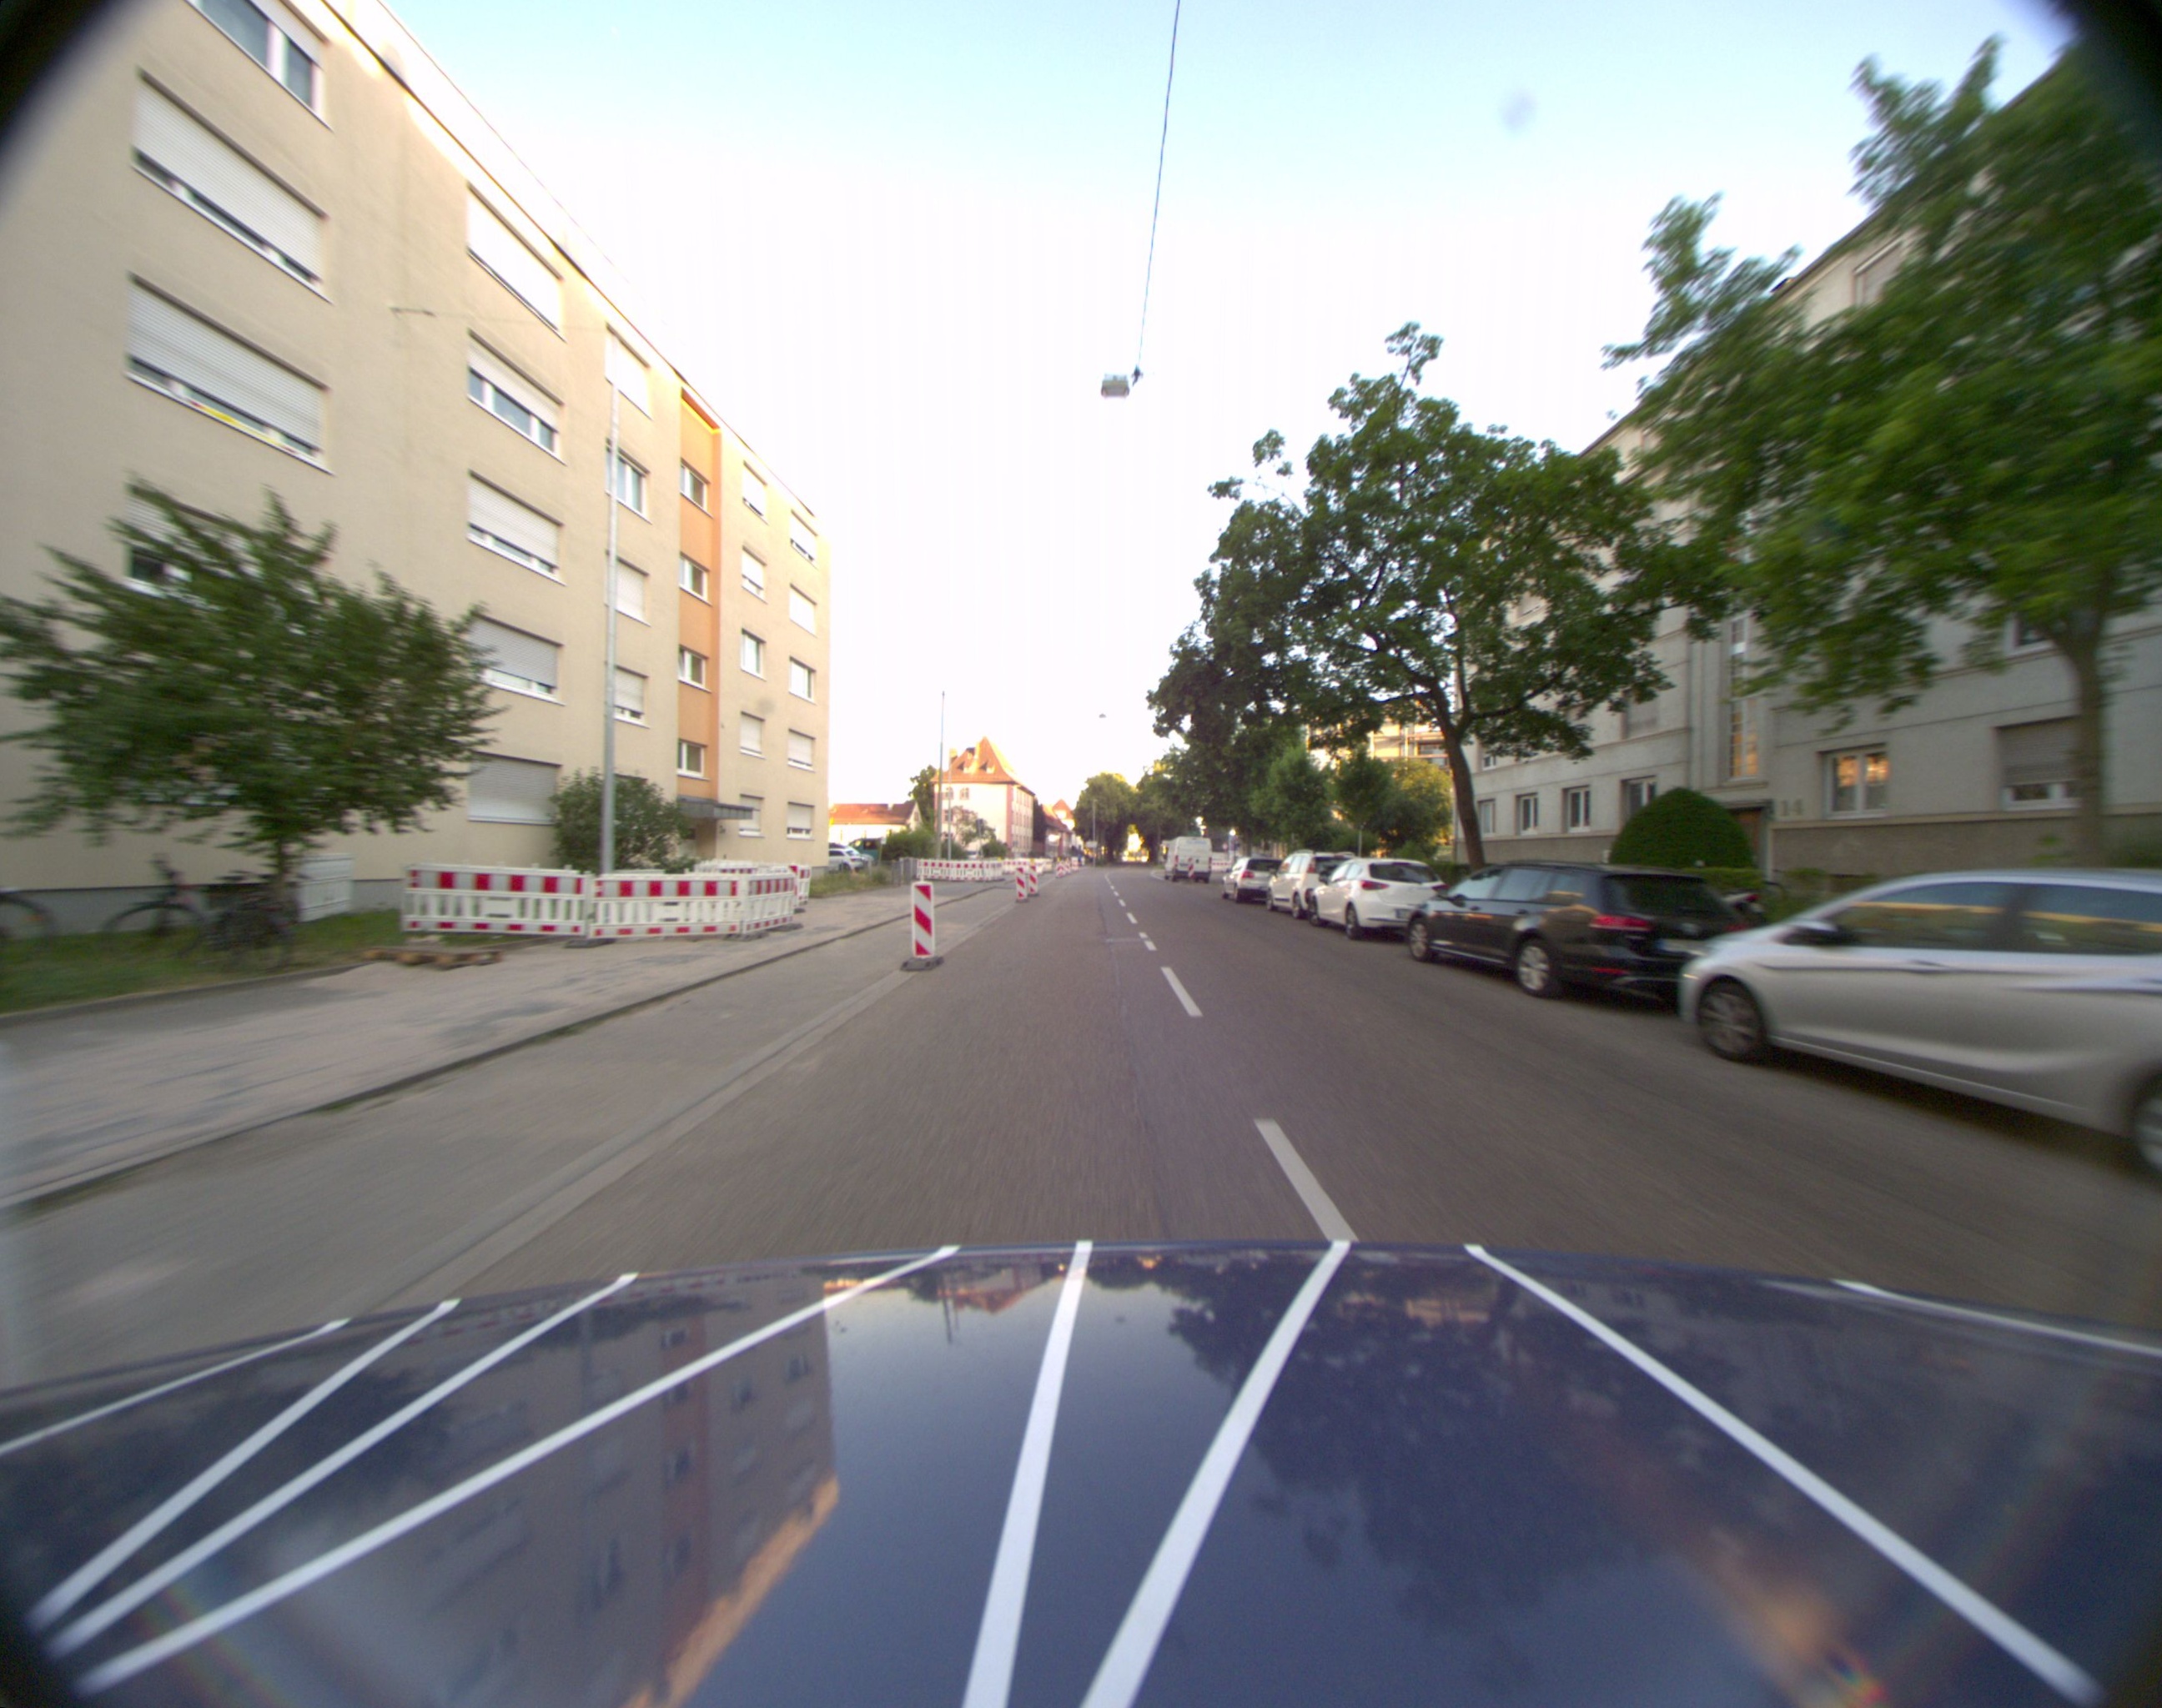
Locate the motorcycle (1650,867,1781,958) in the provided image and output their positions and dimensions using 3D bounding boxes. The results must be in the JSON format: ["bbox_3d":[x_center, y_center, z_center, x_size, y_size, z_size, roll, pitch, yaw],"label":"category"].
[{"bbox_3d":[10.142,0.890,12.233,0.588,1.317,1.828,0,0,1],"label":"motorcycle"}]

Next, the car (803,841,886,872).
[{"bbox_3d":[-14.585,0.131,47.021,4.489,1.800,2.005,1,1,3],"label":"car"}]

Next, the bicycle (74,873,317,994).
[{"bbox_3d":[-8.988,0.787,7.746,1.815,1.017,0.558,5,1,2],"label":"bicycle"}]

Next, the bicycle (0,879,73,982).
[{"bbox_3d":[-10.863,0.699,6.983,1.821,0.916,0.556,4,2,-40],"label":"bicycle"}]

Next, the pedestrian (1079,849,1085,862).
[{"bbox_3d":[0.131,0.202,99.496,0.716,1.600,0.518,0,1,-4],"label":"pedestrian"}]

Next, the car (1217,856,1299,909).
[{"bbox_3d":[5.660,0.852,24.817,1.756,1.463,4.224,3,0,2],"label":"car"}]

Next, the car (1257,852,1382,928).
[{"bbox_3d":[5.878,0.813,19.258,1.757,1.622,4.107,3,0,-1],"label":"car"}]

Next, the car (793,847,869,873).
[{"bbox_3d":[-14.558,0.316,44.364,3.839,1.444,1.695,1,1,3],"label":"car"}]

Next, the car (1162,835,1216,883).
[{"bbox_3d":[6.174,0.257,44.097,2.184,2.447,6.103,3,0,1],"label":"car"}]

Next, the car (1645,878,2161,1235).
[{"bbox_3d":[5.542,0.970,4.379,1.679,1.451,3.704,3,0,-2],"label":"car"}]

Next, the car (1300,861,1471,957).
[{"bbox_3d":[5.635,0.928,14.626,1.756,1.471,3.945,3,0,2],"label":"car"}]

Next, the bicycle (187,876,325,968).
[{"bbox_3d":[-9.742,0.776,9.042,0.559,0.860,1.610,4,1,-27],"label":"bicycle"}]

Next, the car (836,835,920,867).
[{"bbox_3d":[-13.844,-0.222,51.980,5.030,2.117,2.291,0,0,8],"label":"car"}]

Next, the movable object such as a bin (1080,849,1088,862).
[{"bbox_3d":[0.381,0.192,100.164,0.977,1.600,0.634,0,1,-4],"label":"movable object such as a bin"}]

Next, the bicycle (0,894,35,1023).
[{"bbox_3d":[-9.383,0.768,6.015,1.755,0.981,0.558,5,1,10],"label":"bicycle"}]

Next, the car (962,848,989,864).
[{"bbox_3d":[-10.482,0.194,75.979,1.919,1.620,4.808,0,0,2],"label":"car"}]

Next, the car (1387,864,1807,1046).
[{"bbox_3d":[5.577,0.946,9.162,1.757,1.471,4.678,3,0,-1],"label":"car"}]
